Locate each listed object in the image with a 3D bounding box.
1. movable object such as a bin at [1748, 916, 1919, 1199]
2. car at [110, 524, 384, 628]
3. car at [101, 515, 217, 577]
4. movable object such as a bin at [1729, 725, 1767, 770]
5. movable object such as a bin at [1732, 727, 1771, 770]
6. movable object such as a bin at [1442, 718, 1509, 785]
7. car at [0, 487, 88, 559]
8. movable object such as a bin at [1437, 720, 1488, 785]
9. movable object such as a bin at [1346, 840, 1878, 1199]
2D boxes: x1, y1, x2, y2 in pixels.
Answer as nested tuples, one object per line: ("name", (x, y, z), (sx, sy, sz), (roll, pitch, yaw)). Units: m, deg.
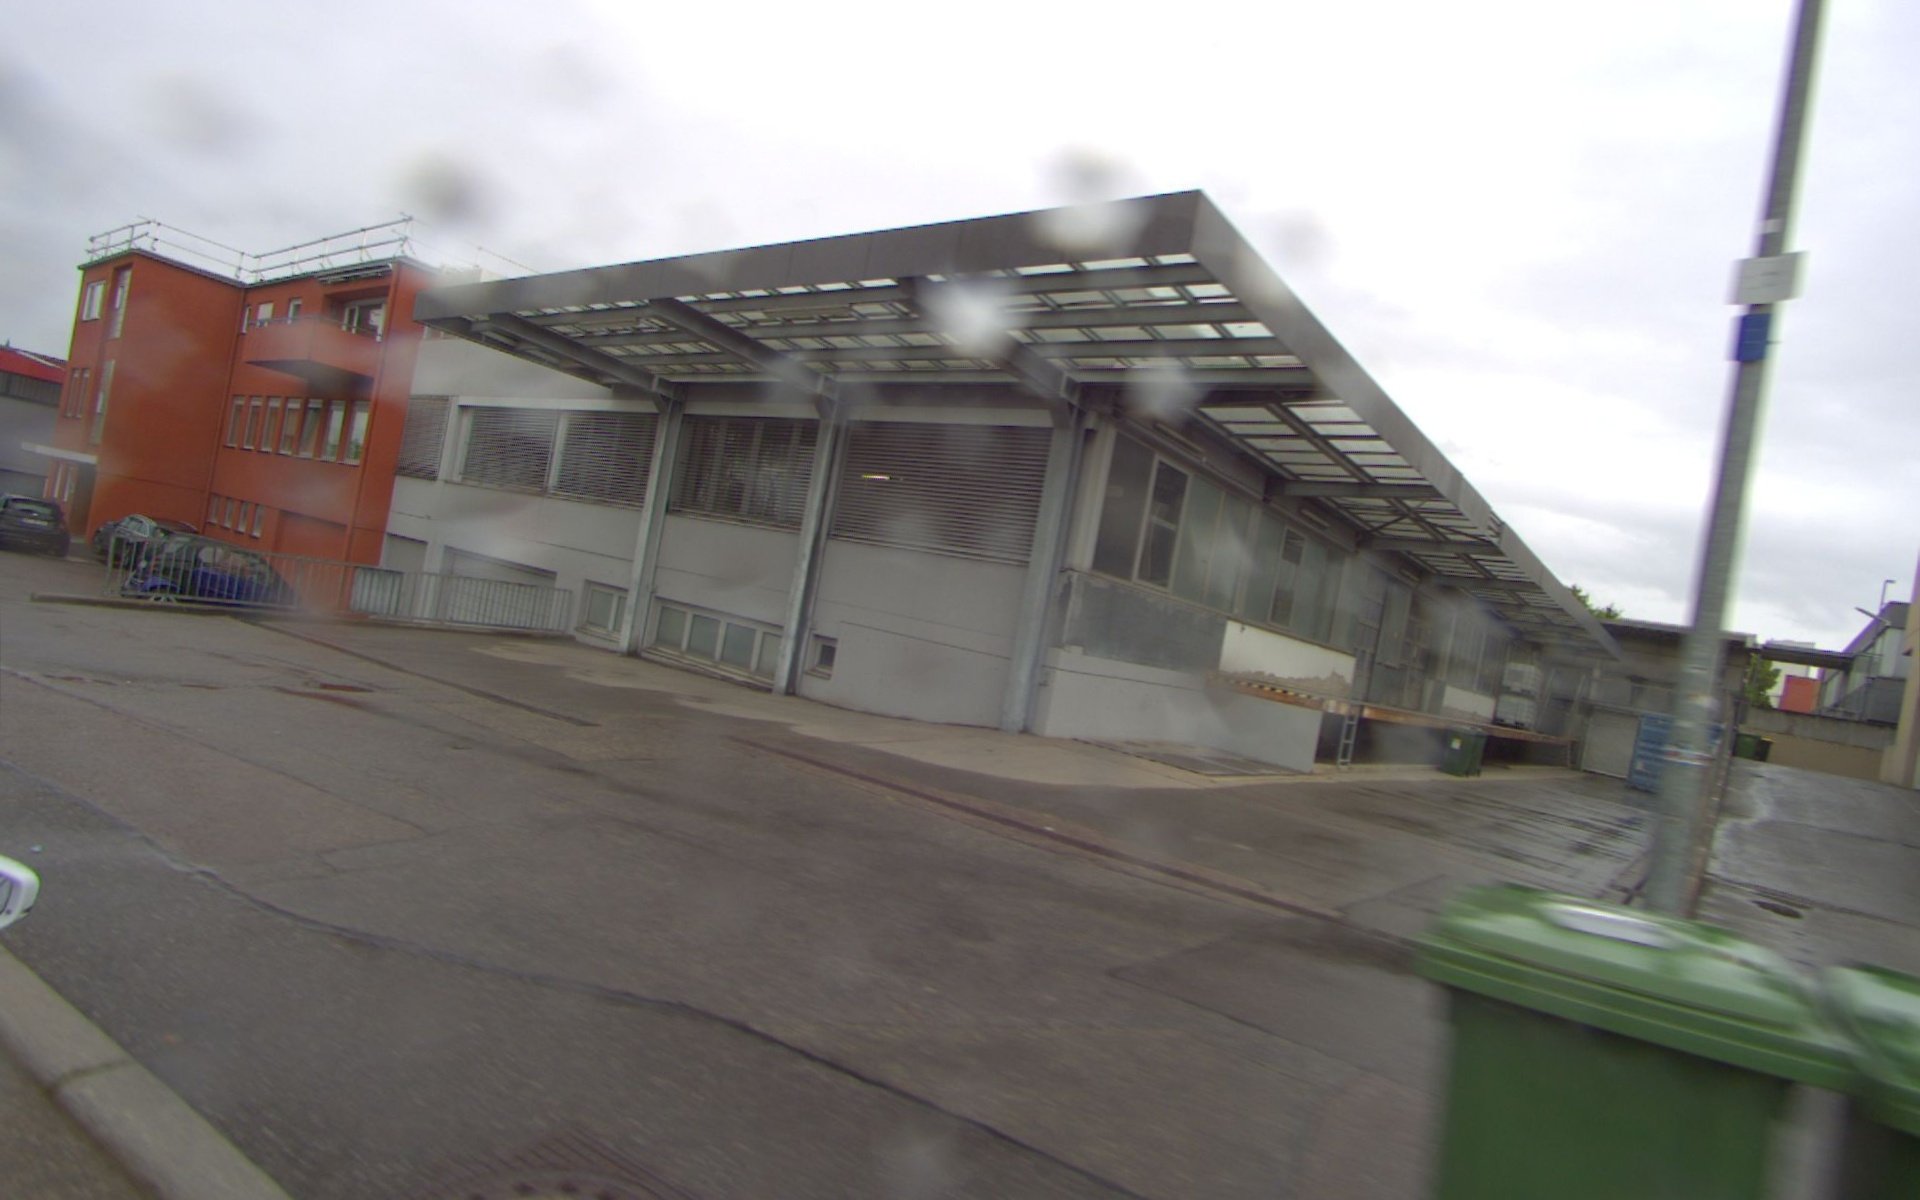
("movable object such as a bin", (1.600, 1.160, 1.512), (0.572, 1.089, 0.810), (7, -1, 33))
("car", (-12.104, -0.374, 17.219), (1.766, 1.176, 3.401), (7, -3, 40))
("car", (-23.937, -1.635, 30.036), (3.941, 1.438, 1.729), (5, -3, 38))
("movable object such as a bin", (27.554, 5.161, 35.199), (0.924, 1.410, 1.323), (6, -2, 38))
("movable object such as a bin", (29.000, 5.425, 36.880), (0.977, 1.410, 1.323), (6, -2, 38))
("movable object such as a bin", (11.704, 3.435, 22.830), (1.019, 1.337, 0.873), (7, -2, 43))
("car", (-26.362, -2.202, 28.434), (3.941, 1.672, 1.740), (5, -3, 38))
("movable object such as a bin", (11.047, 3.351, 22.114), (0.673, 1.278, 0.994), (7, -2, 40))
("movable object such as a bin", (1.105, 1.092, 1.838), (0.614, 1.092, 0.803), (7, -1, 33))
